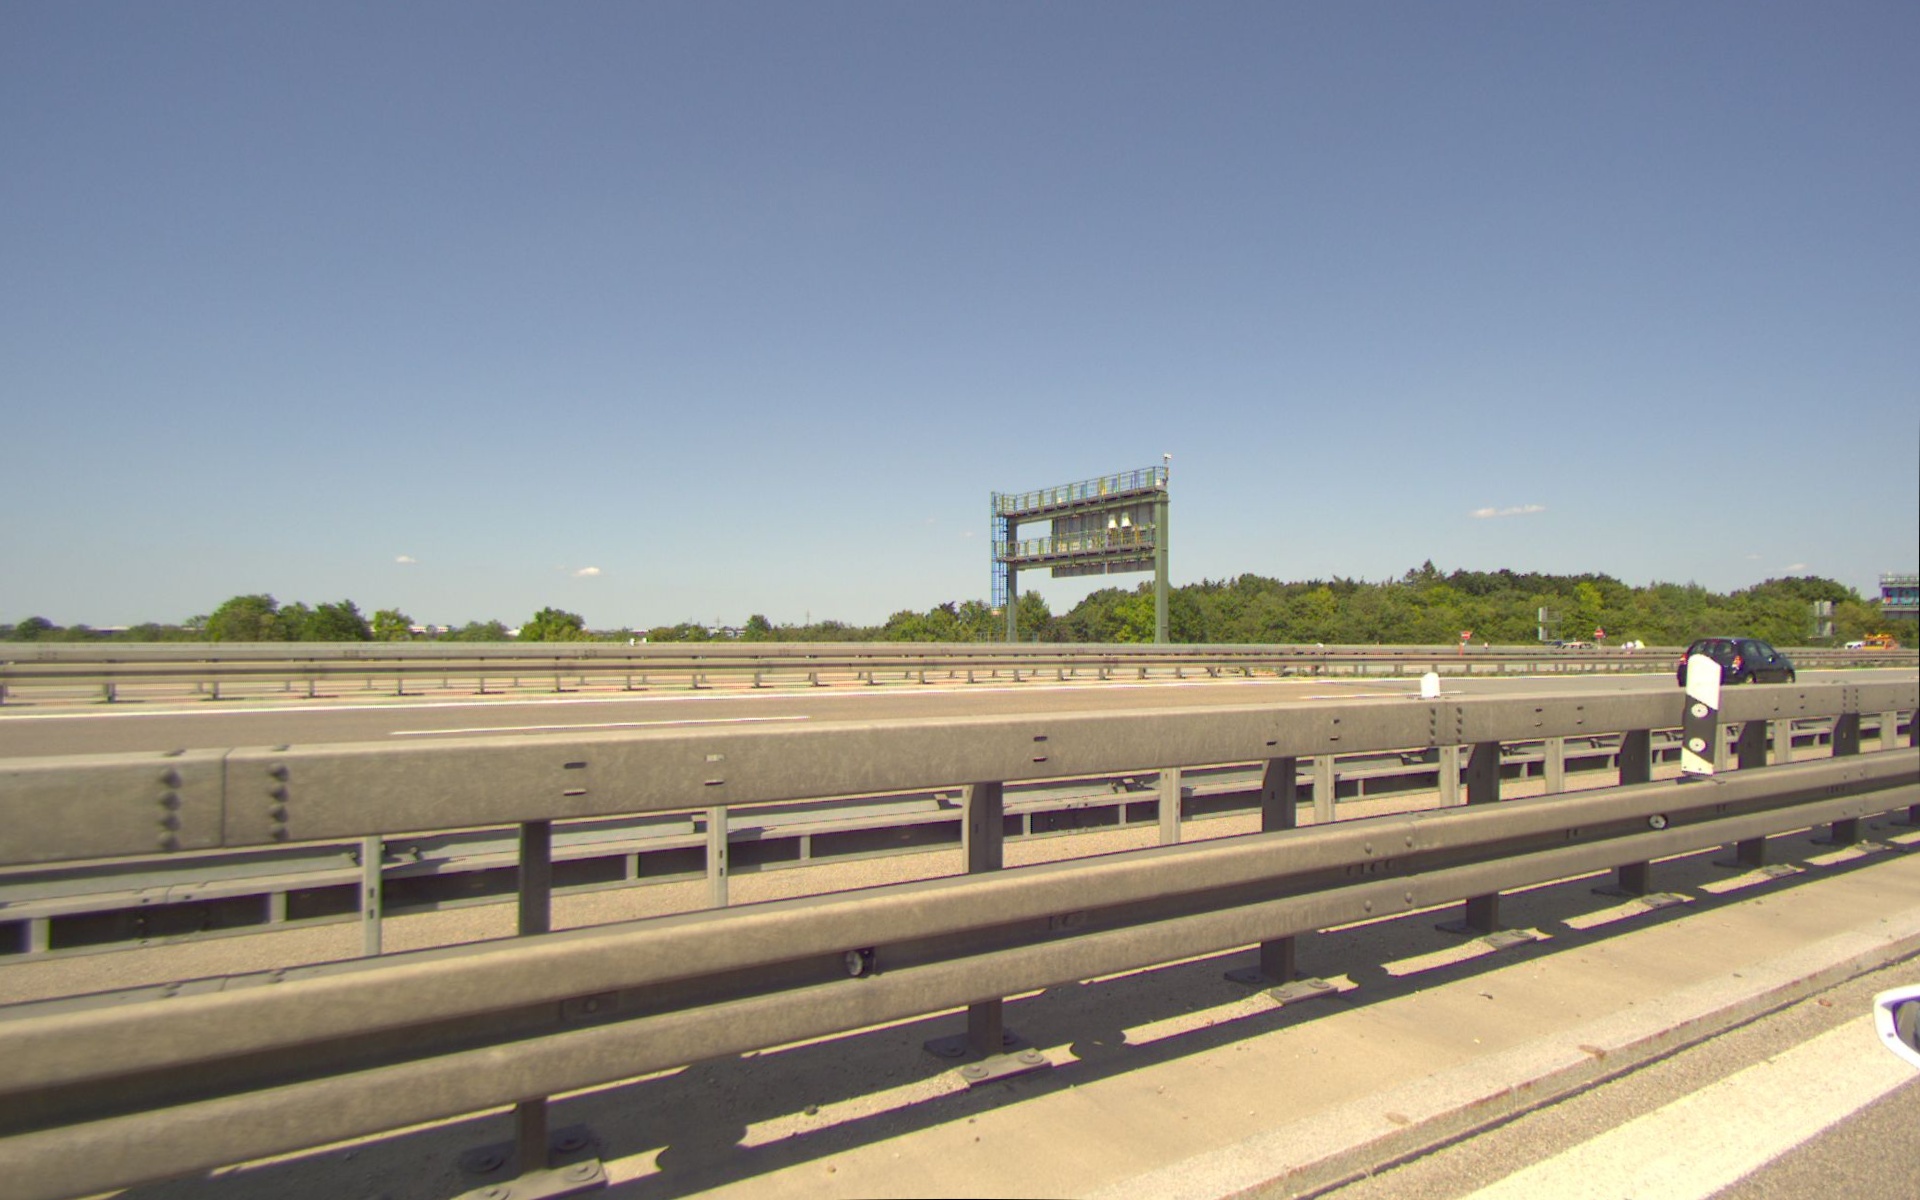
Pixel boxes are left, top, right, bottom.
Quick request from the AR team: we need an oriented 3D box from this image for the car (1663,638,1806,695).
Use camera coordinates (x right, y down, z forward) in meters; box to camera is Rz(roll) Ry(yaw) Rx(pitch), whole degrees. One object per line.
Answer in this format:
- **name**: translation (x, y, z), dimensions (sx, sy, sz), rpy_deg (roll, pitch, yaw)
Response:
- **car**: translation (22.022, 1.839, 28.527), dimensions (4.168, 1.451, 1.821), rpy_deg (1, -1, -31)

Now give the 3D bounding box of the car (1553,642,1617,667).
- **car**: translation (42.058, 3.647, 67.548), dimensions (4.478, 1.537, 1.829), rpy_deg (1, -1, -30)

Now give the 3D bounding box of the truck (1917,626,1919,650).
- **truck**: translation (134.696, 5.295, 137.713), dimensions (5.283, 3.344, 1.999), rpy_deg (1, -1, -4)

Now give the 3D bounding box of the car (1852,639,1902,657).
- **car**: translation (81.574, 4.273, 89.350), dimensions (5.235, 1.537, 1.829), rpy_deg (1, -1, -30)
